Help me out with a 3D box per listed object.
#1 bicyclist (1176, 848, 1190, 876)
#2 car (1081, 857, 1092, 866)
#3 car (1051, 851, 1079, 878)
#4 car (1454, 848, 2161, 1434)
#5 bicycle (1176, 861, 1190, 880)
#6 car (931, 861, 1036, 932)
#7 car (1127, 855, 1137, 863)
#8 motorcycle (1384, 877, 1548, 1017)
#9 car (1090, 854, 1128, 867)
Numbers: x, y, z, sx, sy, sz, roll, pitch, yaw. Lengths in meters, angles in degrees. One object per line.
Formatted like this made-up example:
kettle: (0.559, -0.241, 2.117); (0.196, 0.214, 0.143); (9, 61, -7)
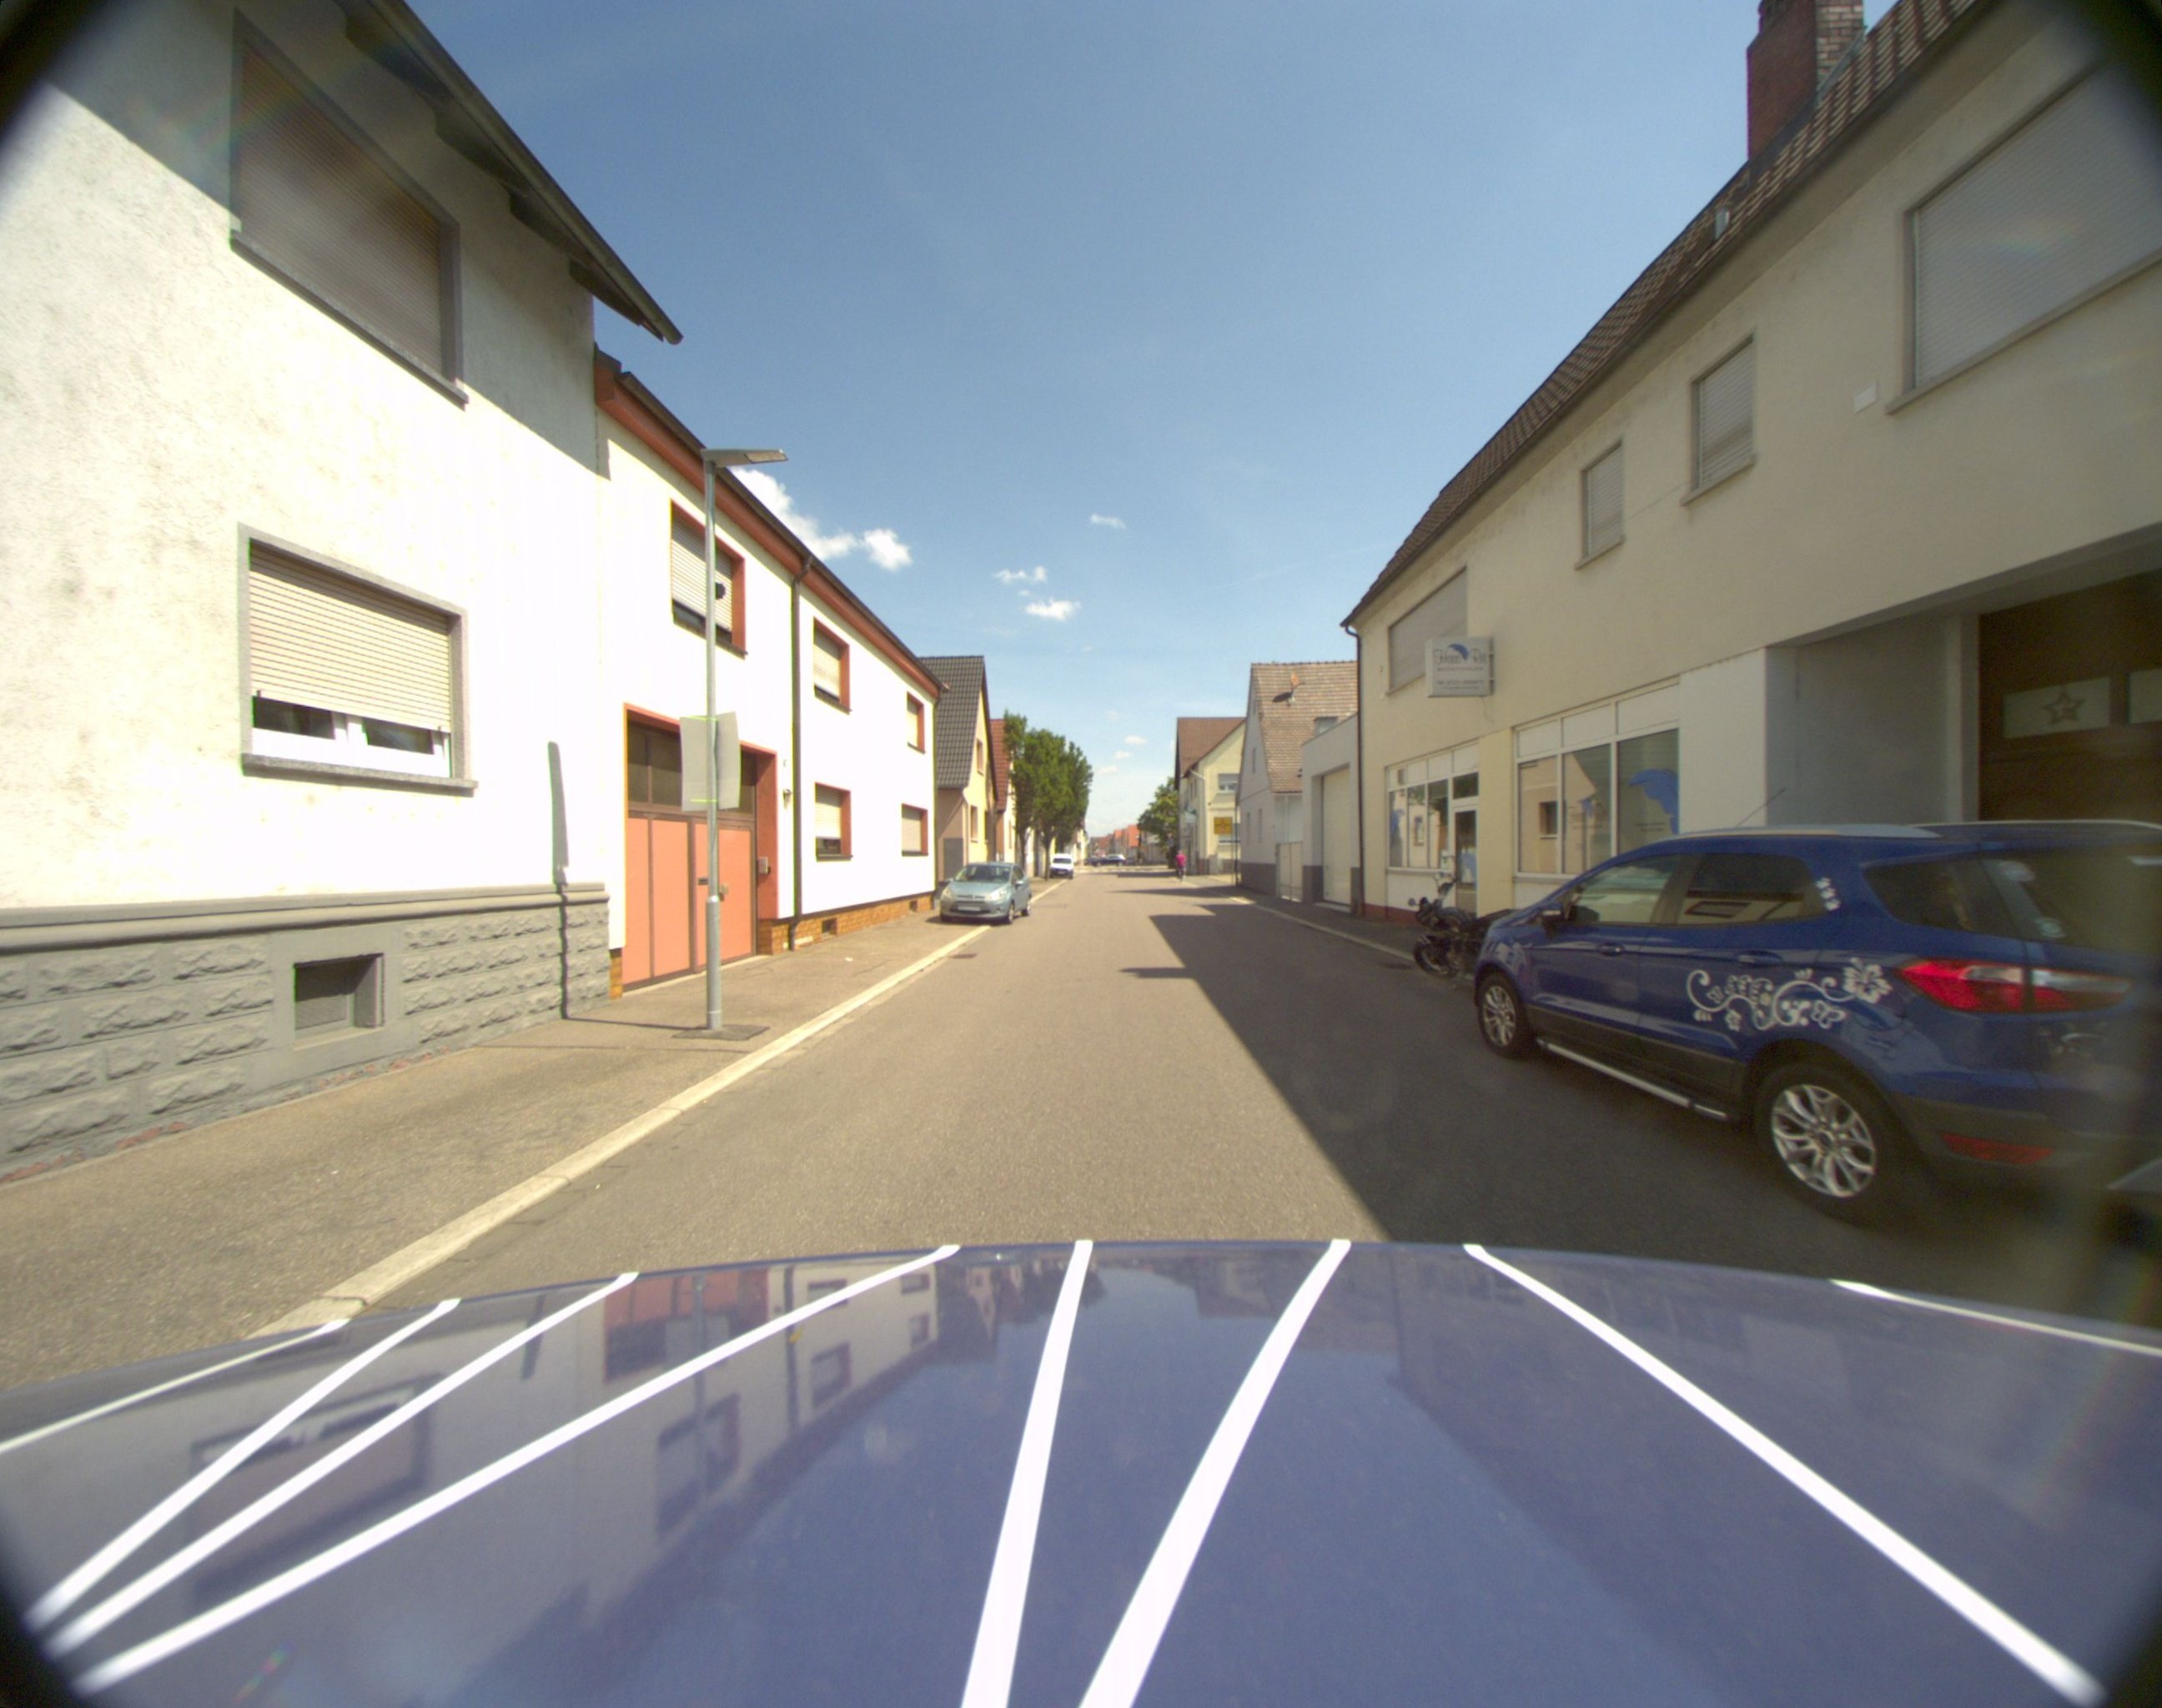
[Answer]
bicyclist: (6.073, 0.496, 45.311); (0.748, 1.627, 0.957); (-1, 1, 5)
car: (0.934, 1.285, 124.175); (1.598, 1.385, 4.171); (-1, -2, 2)
car: (-1.110, 0.742, 55.628); (1.692, 1.831, 4.765); (2, 0, 2)
car: (3.902, 0.808, 4.134); (1.721, 1.630, 4.149); (1, 0, 1)
bicycle: (6.084, 0.977, 45.287); (0.744, 1.041, 1.941); (-1, 0, 5)
car: (-2.320, 0.967, 18.951); (1.725, 1.473, 3.751); (2, 0, 6)
car: (9.007, 0.889, 134.061); (1.726, 1.385, 4.171); (-1, -2, 3)
motorcycle: (4.217, 0.954, 8.553); (0.810, 1.305, 2.105); (-1, 0, 1)
car: (3.651, 0.810, 99.432); (4.840, 1.636, 1.999); (-1, 0, -2)
